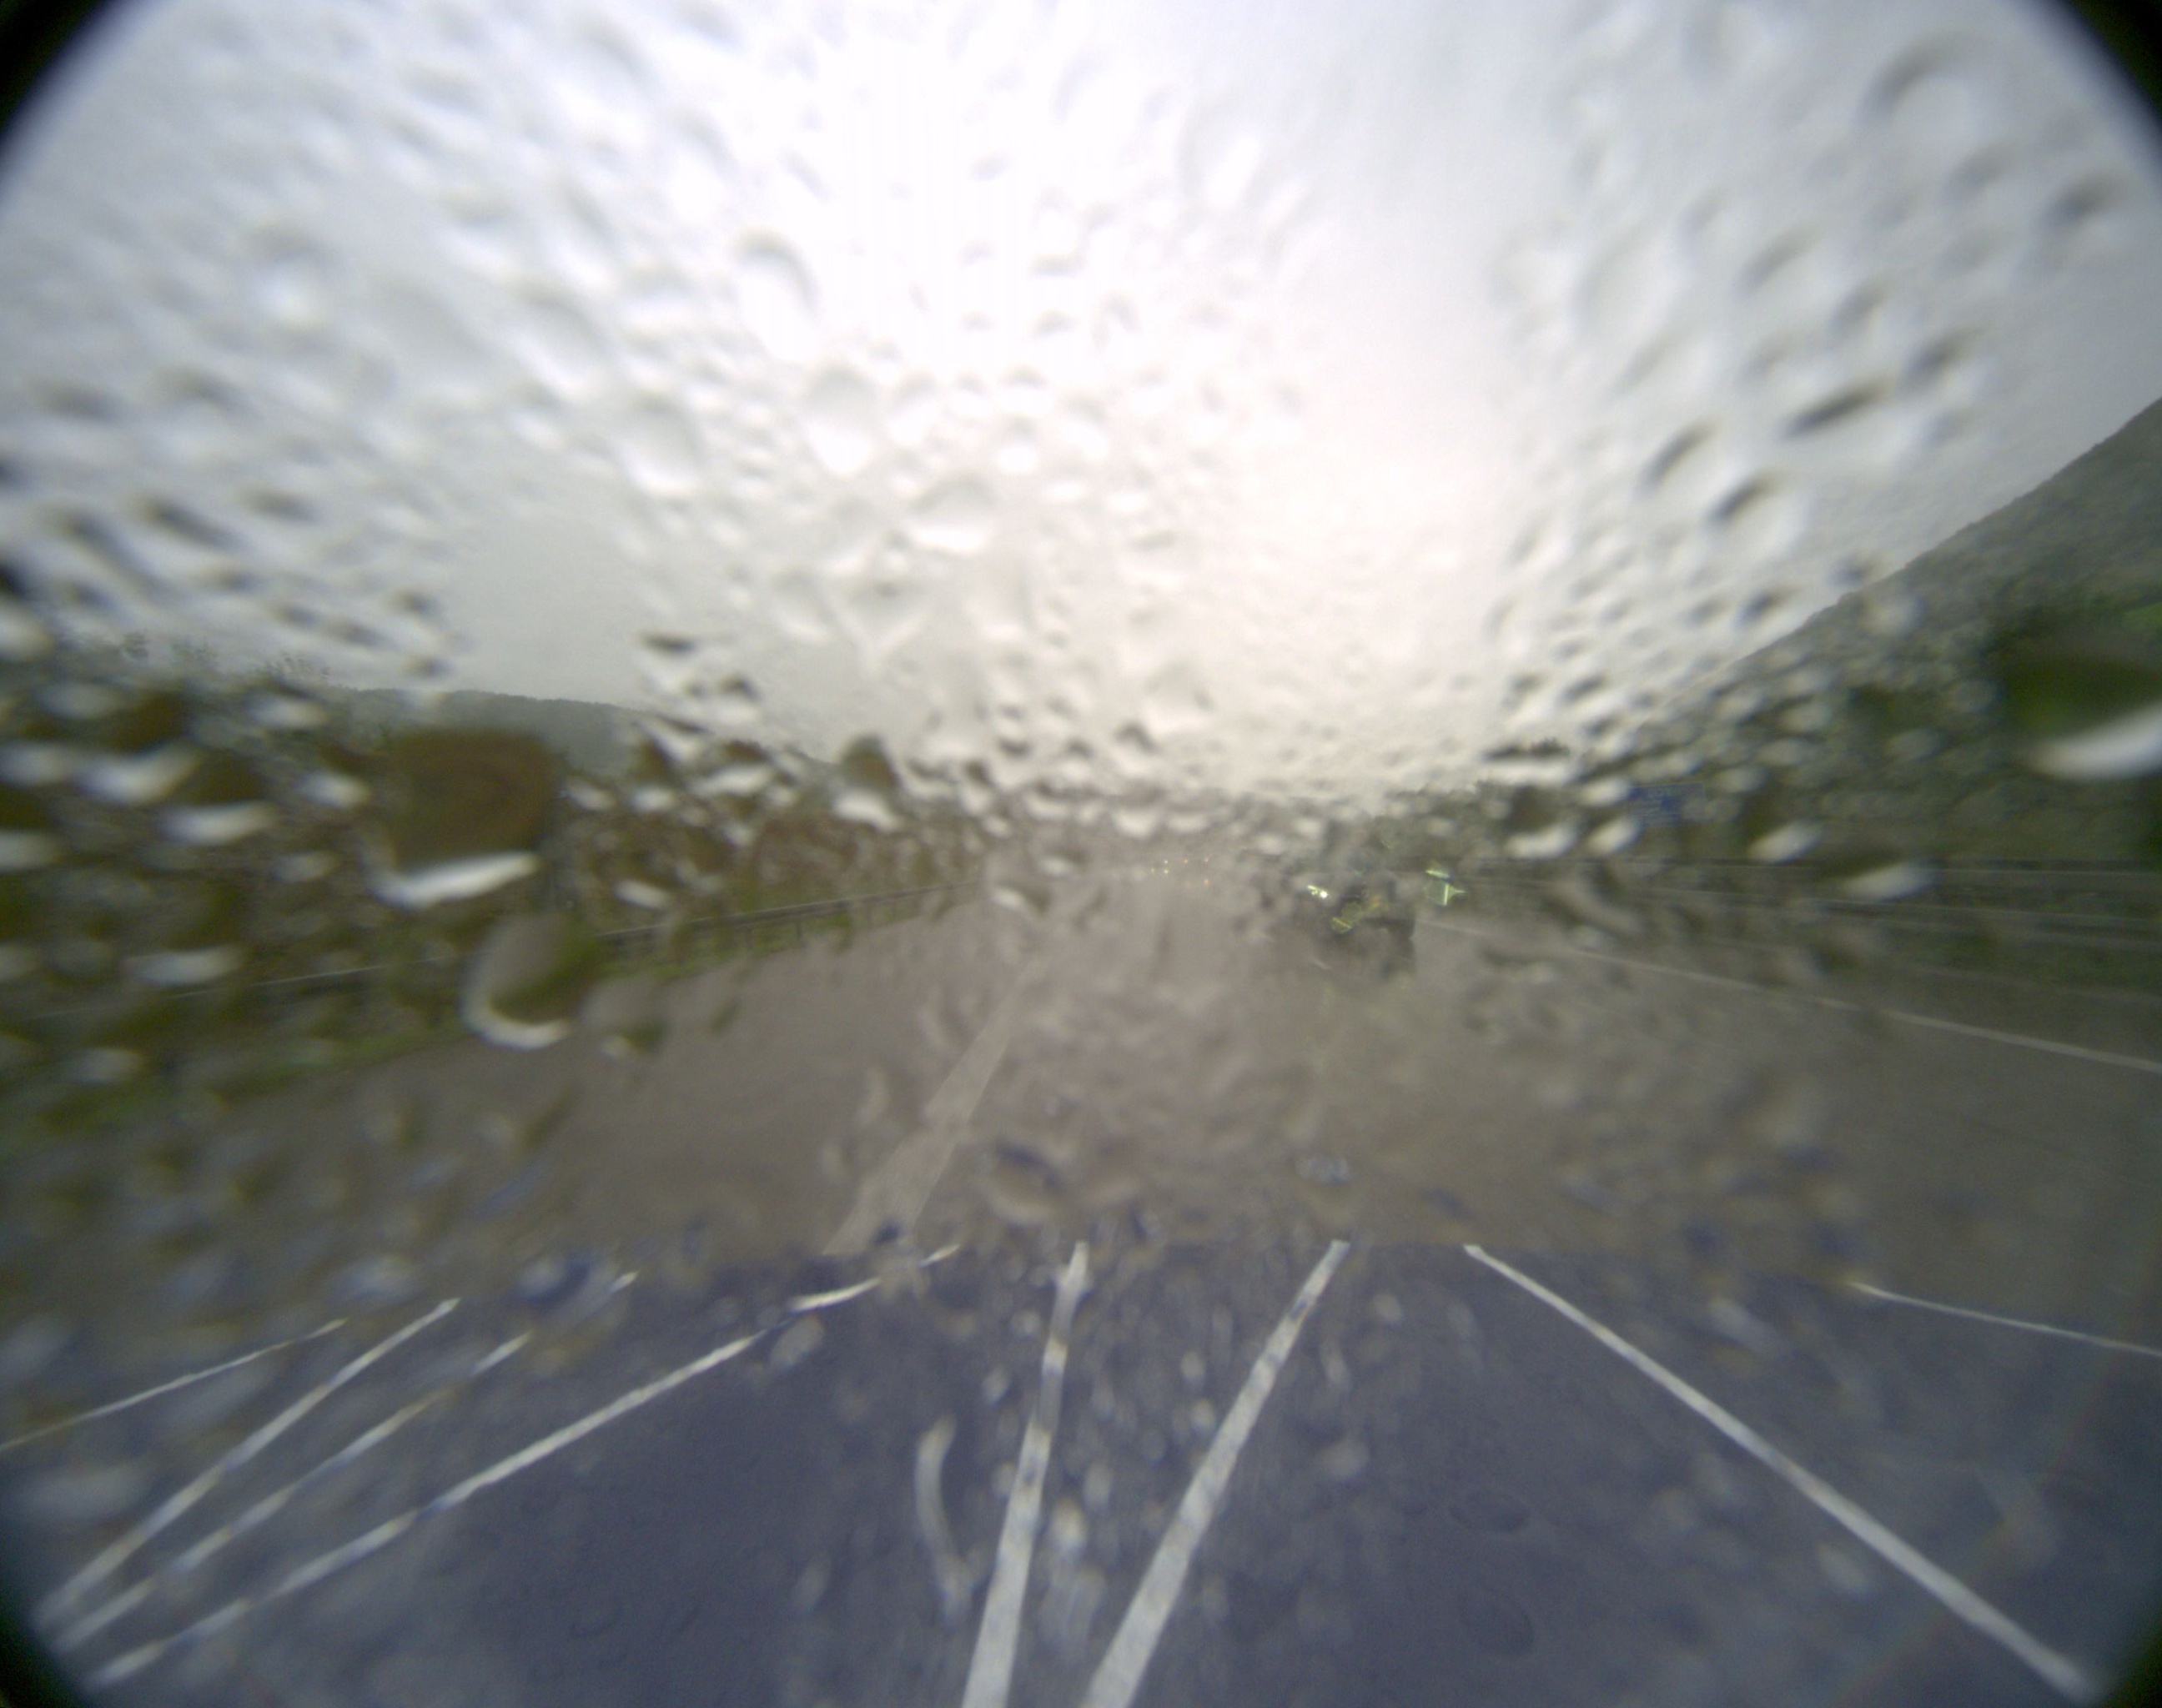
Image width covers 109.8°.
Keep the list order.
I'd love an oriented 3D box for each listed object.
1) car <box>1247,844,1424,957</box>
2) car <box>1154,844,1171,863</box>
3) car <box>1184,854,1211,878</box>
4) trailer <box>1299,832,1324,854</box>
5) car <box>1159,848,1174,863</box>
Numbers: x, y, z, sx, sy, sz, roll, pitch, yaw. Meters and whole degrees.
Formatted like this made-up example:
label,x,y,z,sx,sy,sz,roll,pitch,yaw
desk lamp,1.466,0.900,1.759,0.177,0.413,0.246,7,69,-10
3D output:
label,x,y,z,sx,sy,sz,roll,pitch,yaw
car,4.541,0.729,14.190,1.815,1.692,3.747,-4,1,-3
car,9.443,-0.094,88.429,1.835,2.002,3.939,-4,1,6
car,10.358,1.021,67.600,1.987,2.002,3.934,-2,0,4
trailer,42.938,-2.039,141.914,2.938,3.880,12.576,-1,1,10
car,12.605,0.201,111.816,1.998,2.002,4.001,-2,0,4
